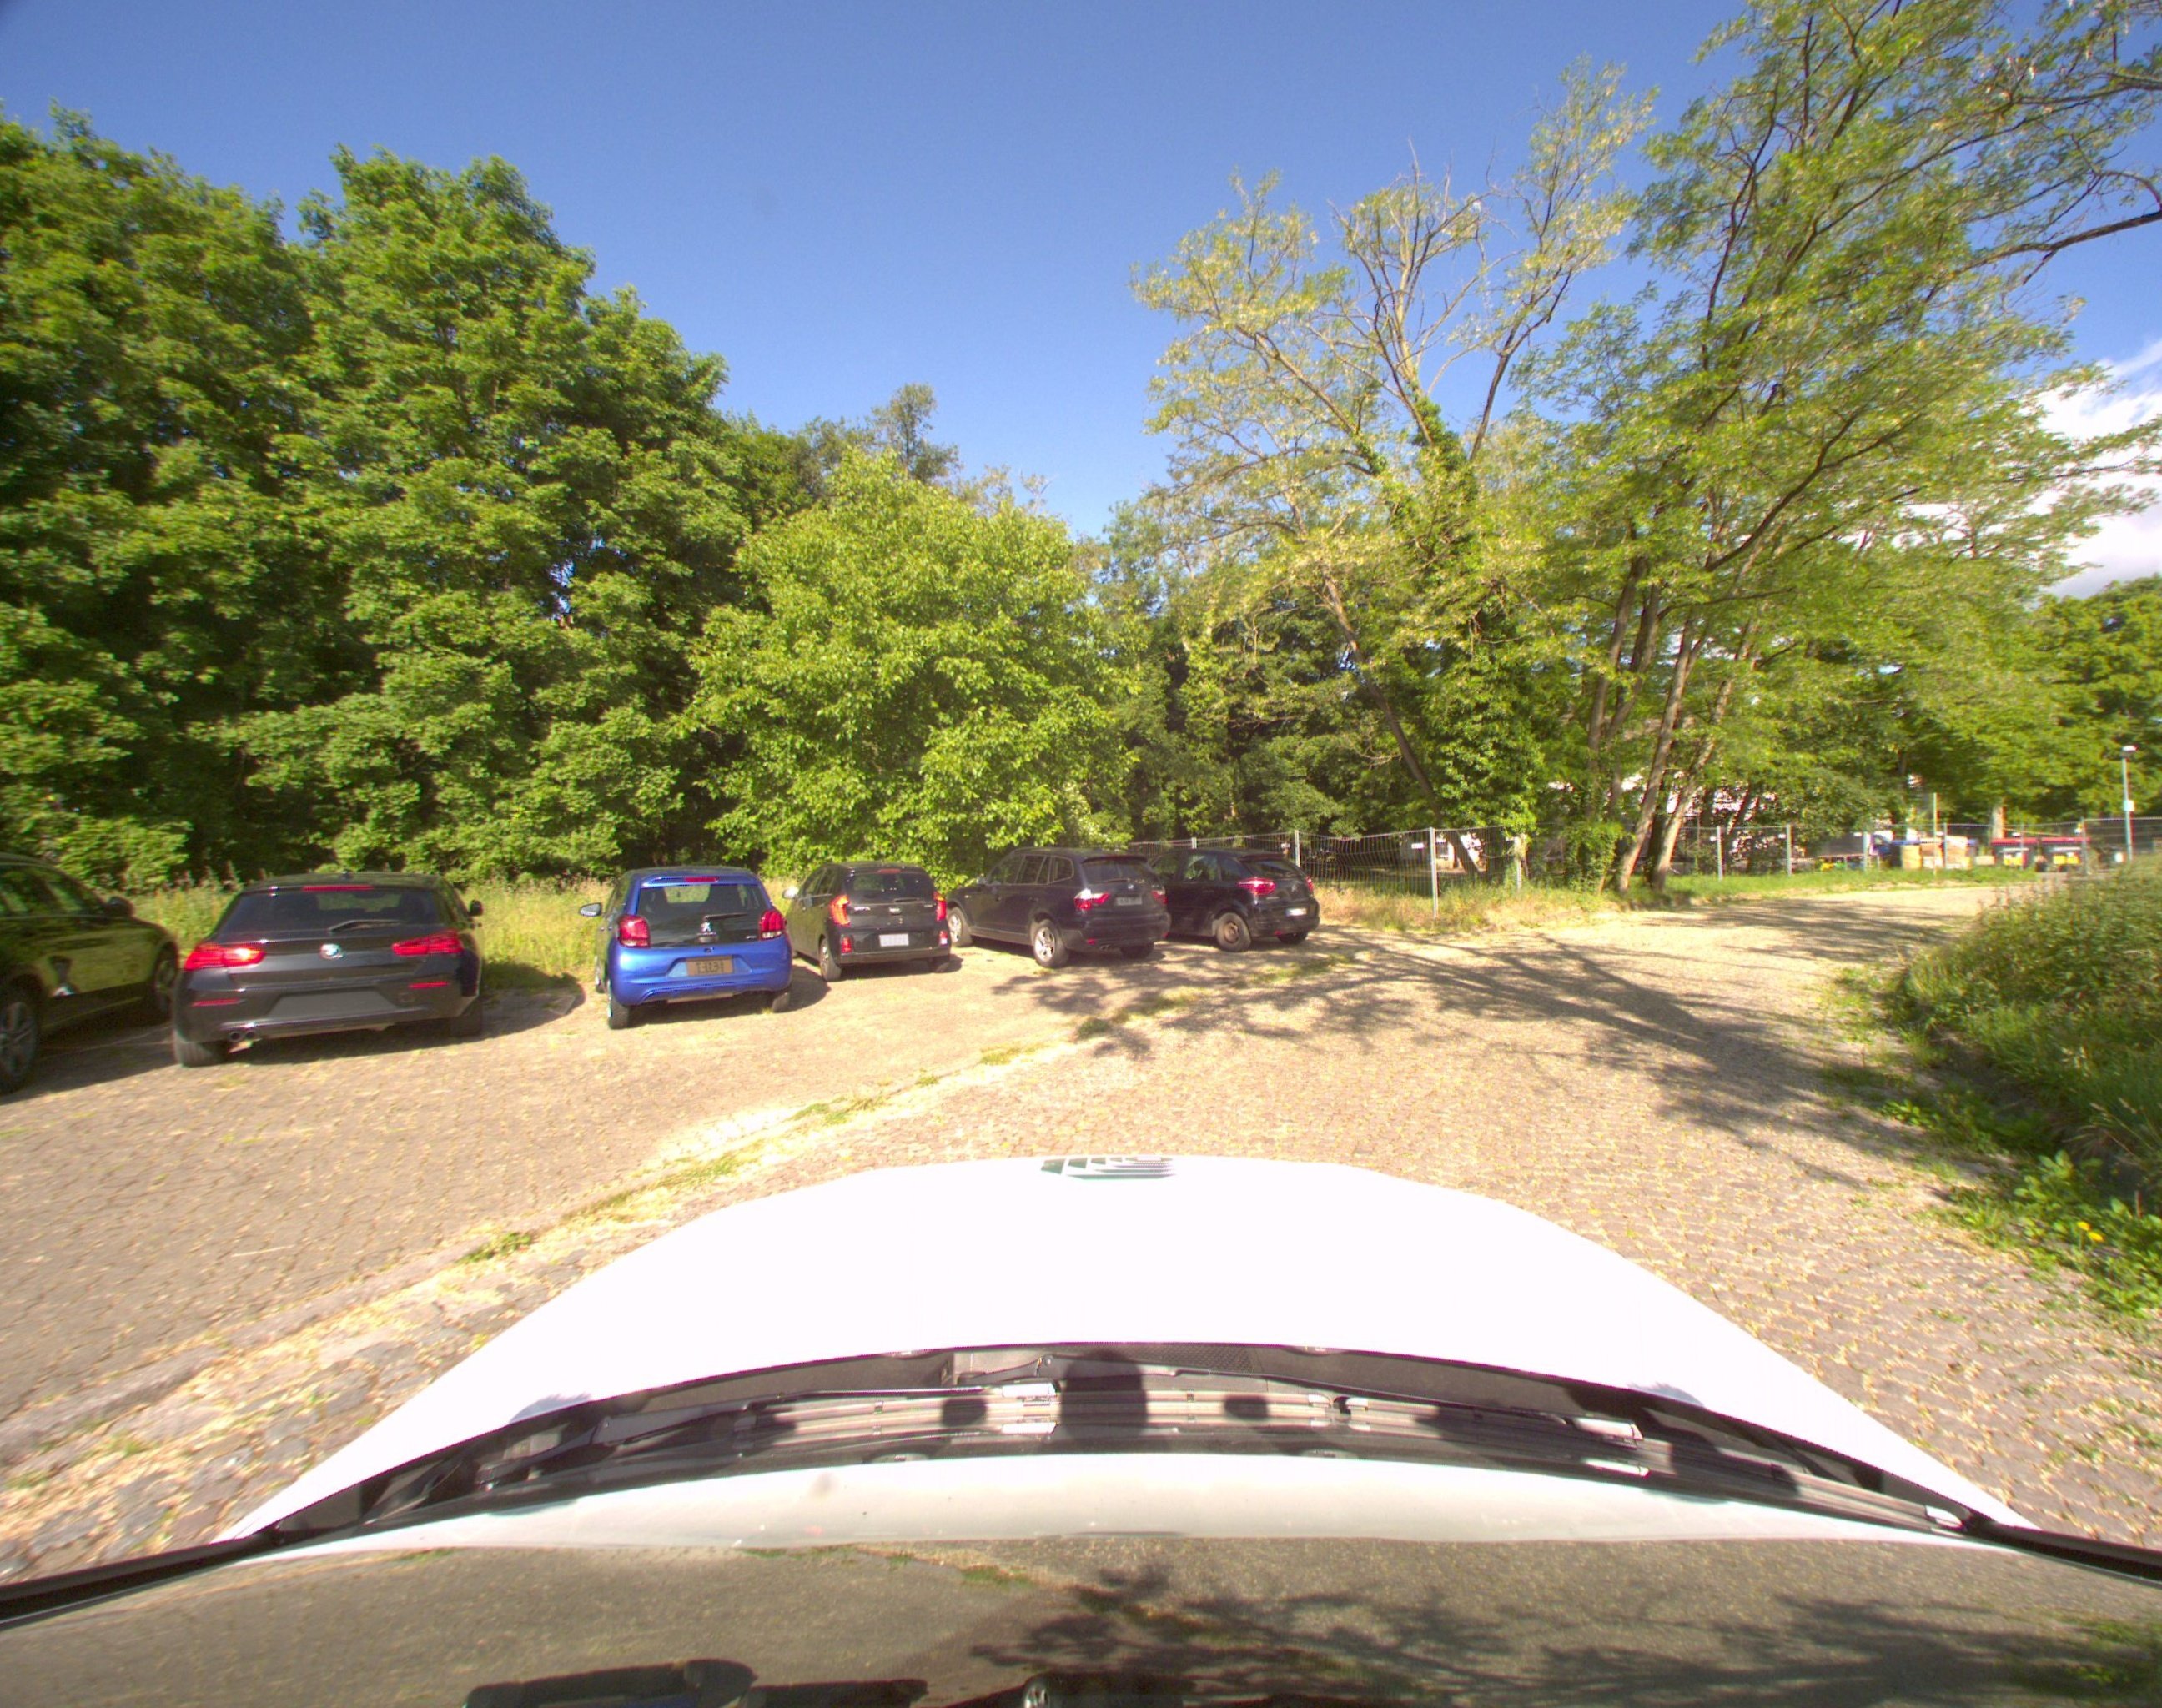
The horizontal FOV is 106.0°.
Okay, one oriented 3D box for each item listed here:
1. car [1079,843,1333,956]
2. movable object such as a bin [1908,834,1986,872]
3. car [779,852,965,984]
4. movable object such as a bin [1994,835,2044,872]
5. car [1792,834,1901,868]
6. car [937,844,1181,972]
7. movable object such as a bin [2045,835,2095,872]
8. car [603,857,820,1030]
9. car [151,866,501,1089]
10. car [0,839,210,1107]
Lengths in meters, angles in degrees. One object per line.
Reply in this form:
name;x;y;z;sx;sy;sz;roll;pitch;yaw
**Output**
car;2.071;0.660;14.472;1.803;1.652;4.248;-1;2;-43
movable object such as a bin;37.690;-0.033;35.471;1.181;1.591;2.268;-1;-1;-41
car;-3.087;0.757;11.522;1.683;1.516;3.518;1;0;-30
movable object such as a bin;39.103;-0.015;33.954;0.811;1.484;1.326;-1;-1;-41
car;47.778;-0.143;50.921;2.010;1.902;4.670;0;-2;-39
car;-0.521;0.678;12.790;1.826;1.656;4.145;-1;1;-36
movable object such as a bin;39.789;-0.010;32.795;0.706;1.444;1.234;-1;-1;-41
car;-4.264;0.788;9.081;1.721;1.493;3.626;0;0;-33
car;-6.511;0.856;7.490;1.842;1.451;3.624;-1;0;-35
car;-8.308;0.760;5.872;1.875;1.641;3.781;-1;0;-33
